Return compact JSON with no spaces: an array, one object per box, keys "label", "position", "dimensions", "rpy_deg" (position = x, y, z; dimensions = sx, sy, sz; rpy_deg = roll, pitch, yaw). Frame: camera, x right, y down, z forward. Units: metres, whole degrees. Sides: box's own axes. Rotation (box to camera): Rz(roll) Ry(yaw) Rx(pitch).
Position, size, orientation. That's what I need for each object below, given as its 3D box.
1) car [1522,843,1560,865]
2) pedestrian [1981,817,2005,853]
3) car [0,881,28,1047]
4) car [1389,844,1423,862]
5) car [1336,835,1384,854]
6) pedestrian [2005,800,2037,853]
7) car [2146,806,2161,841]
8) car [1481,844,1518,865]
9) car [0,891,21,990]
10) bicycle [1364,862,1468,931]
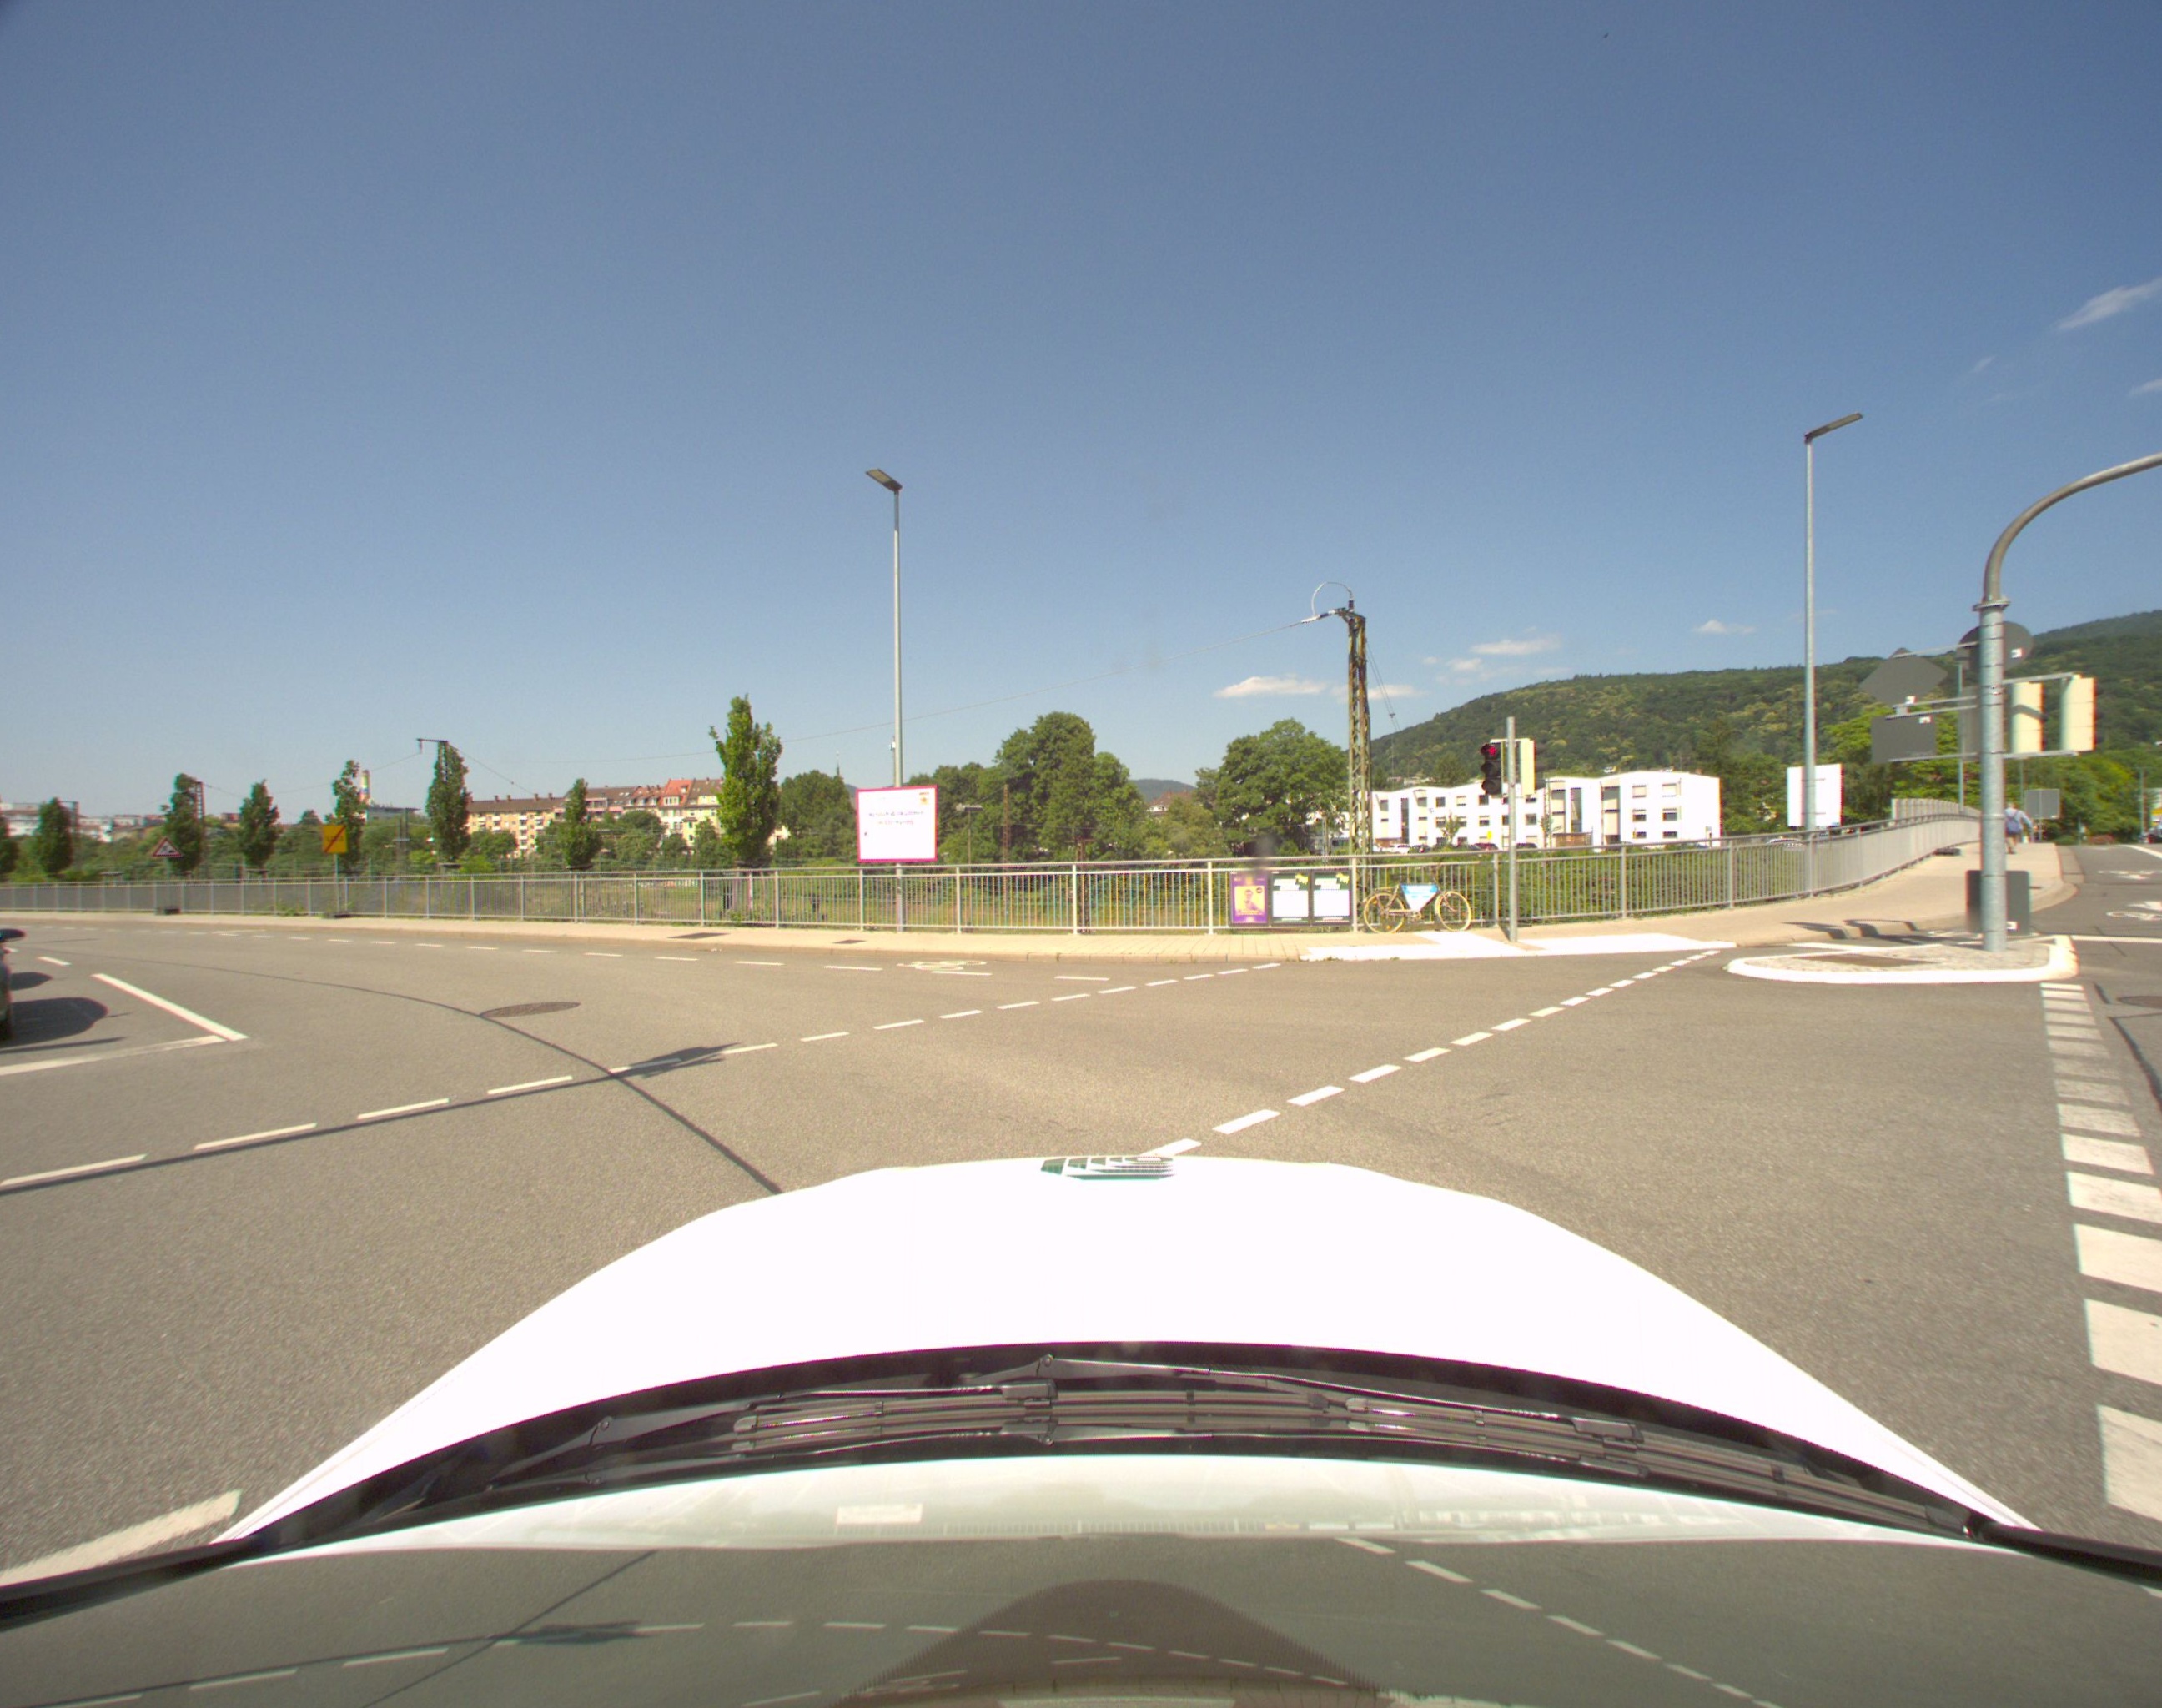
[{"label":"car","position":[46.764,-0.006,82.793],"dimensions":[4.495,2.013,1.976],"rpy_deg":[-2,1,-42]},{"label":"pedestrian","position":[29.284,-0.612,26.151],"dimensions":[0.479,1.121,0.507],"rpy_deg":[-2,1,-40]},{"label":"car","position":[-12.378,1.093,8.319],"dimensions":[4.661,1.496,1.797],"rpy_deg":[-1,1,36]},{"label":"car","position":[38.125,-0.098,95.511],"dimensions":[4.495,2.013,1.976],"rpy_deg":[-2,1,-42]},{"label":"car","position":[31.915,-1.082,93.208],"dimensions":[4.927,2.112,2.013],"rpy_deg":[-1,1,31]},{"label":"pedestrian","position":[29.794,-0.868,25.814],"dimensions":[0.925,1.617,0.638],"rpy_deg":[-2,1,-40]},{"label":"car","position":[55.246,-1.550,40.781],"dimensions":[4.658,1.719,1.976],"rpy_deg":[-2,1,-42]},{"label":"car","position":[44.227,0.034,86.026],"dimensions":[4.495,2.013,1.976],"rpy_deg":[-2,1,-42]},{"label":"car","position":[-17.436,1.287,12.099],"dimensions":[3.948,1.381,1.672],"rpy_deg":[-1,1,32]},{"label":"bicycle","position":[5.620,0.715,13.693],"dimensions":[1.609,1.100,0.298],"rpy_deg":[-1,0,1]}]
